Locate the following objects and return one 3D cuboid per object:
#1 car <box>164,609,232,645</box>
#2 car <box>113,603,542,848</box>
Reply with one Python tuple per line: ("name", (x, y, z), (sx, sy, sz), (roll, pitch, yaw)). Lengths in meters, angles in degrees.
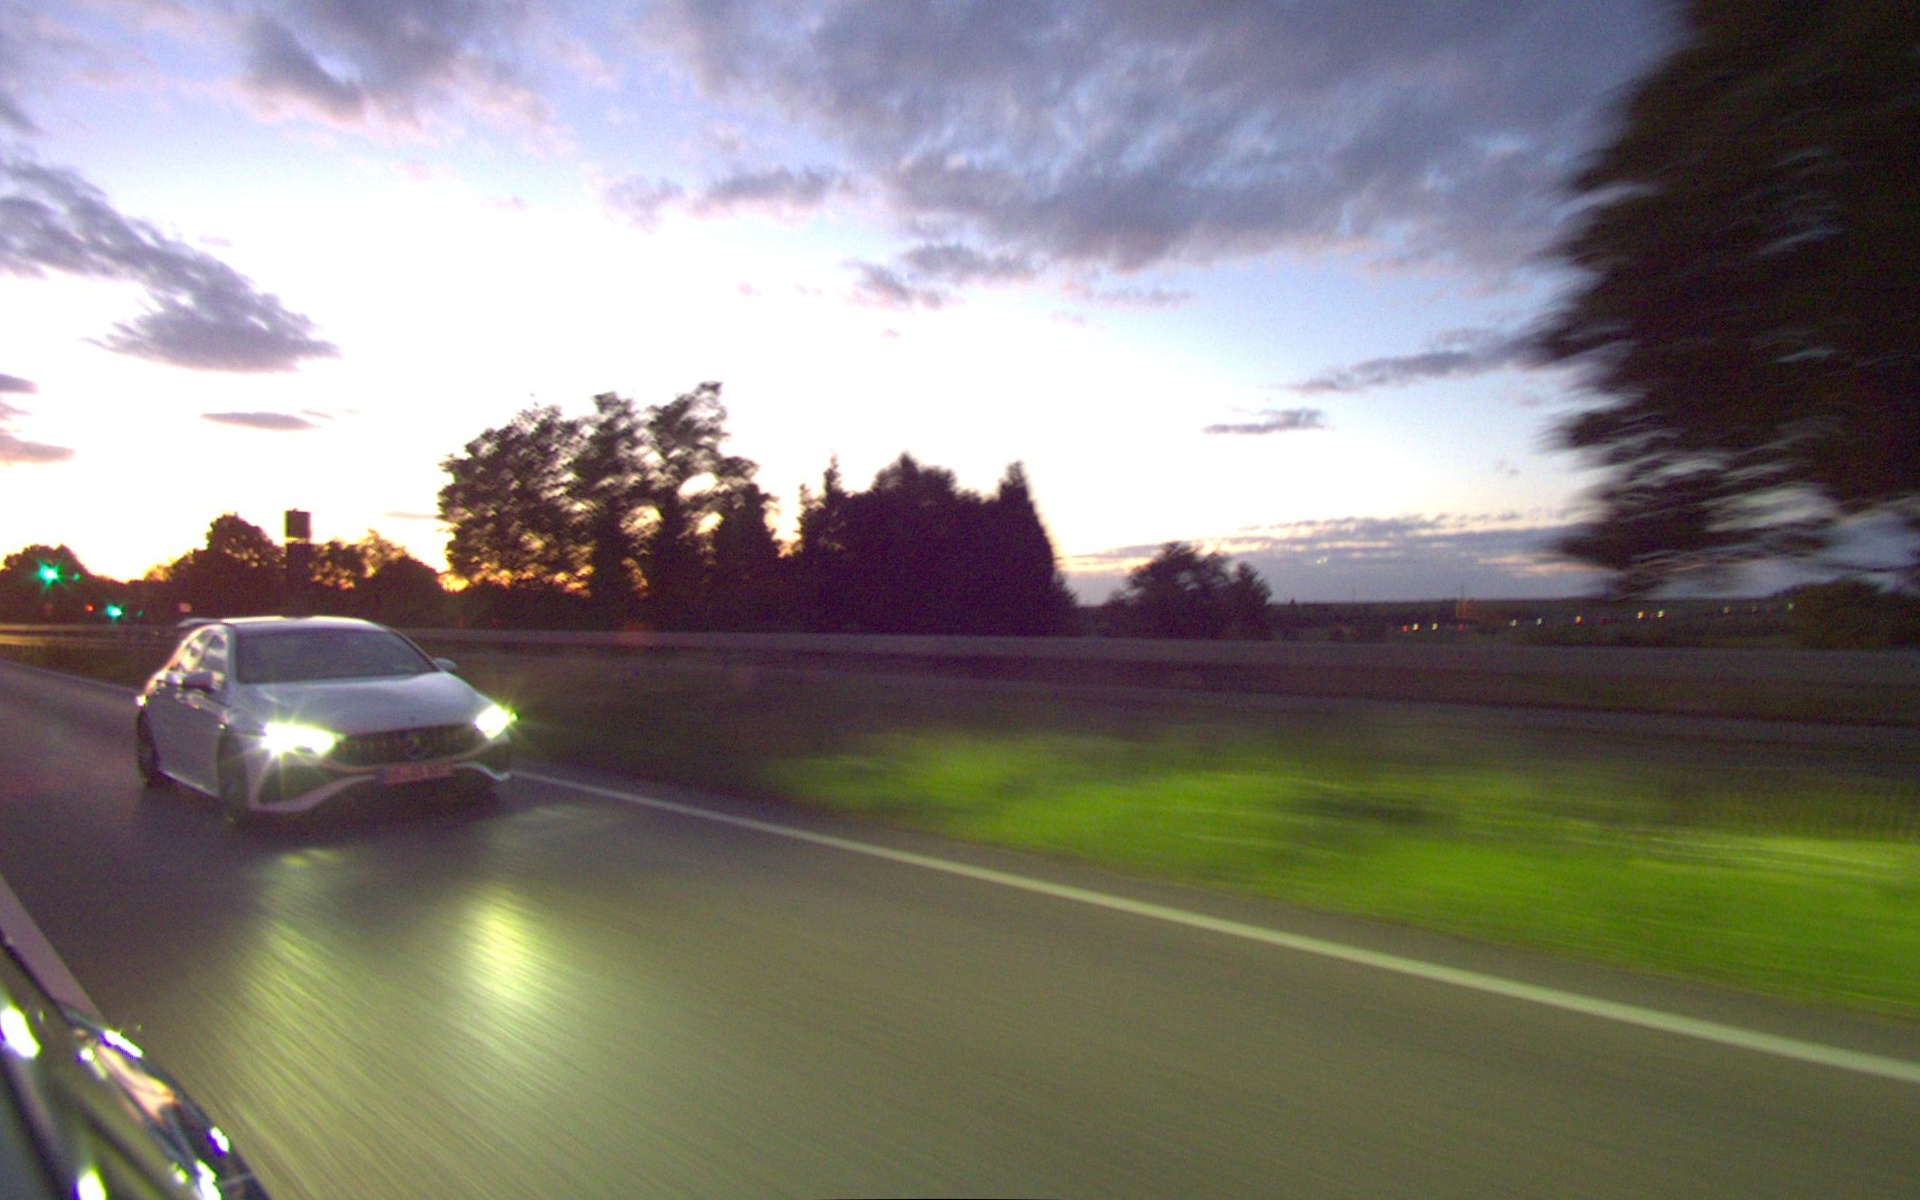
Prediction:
("car", (-34.483, 1.195, 45.764), (3.997, 1.516, 1.638), (-1, 0, 41))
("car", (-5.445, 0.845, 8.407), (4.644, 1.447, 1.796), (-3, -1, 42))
